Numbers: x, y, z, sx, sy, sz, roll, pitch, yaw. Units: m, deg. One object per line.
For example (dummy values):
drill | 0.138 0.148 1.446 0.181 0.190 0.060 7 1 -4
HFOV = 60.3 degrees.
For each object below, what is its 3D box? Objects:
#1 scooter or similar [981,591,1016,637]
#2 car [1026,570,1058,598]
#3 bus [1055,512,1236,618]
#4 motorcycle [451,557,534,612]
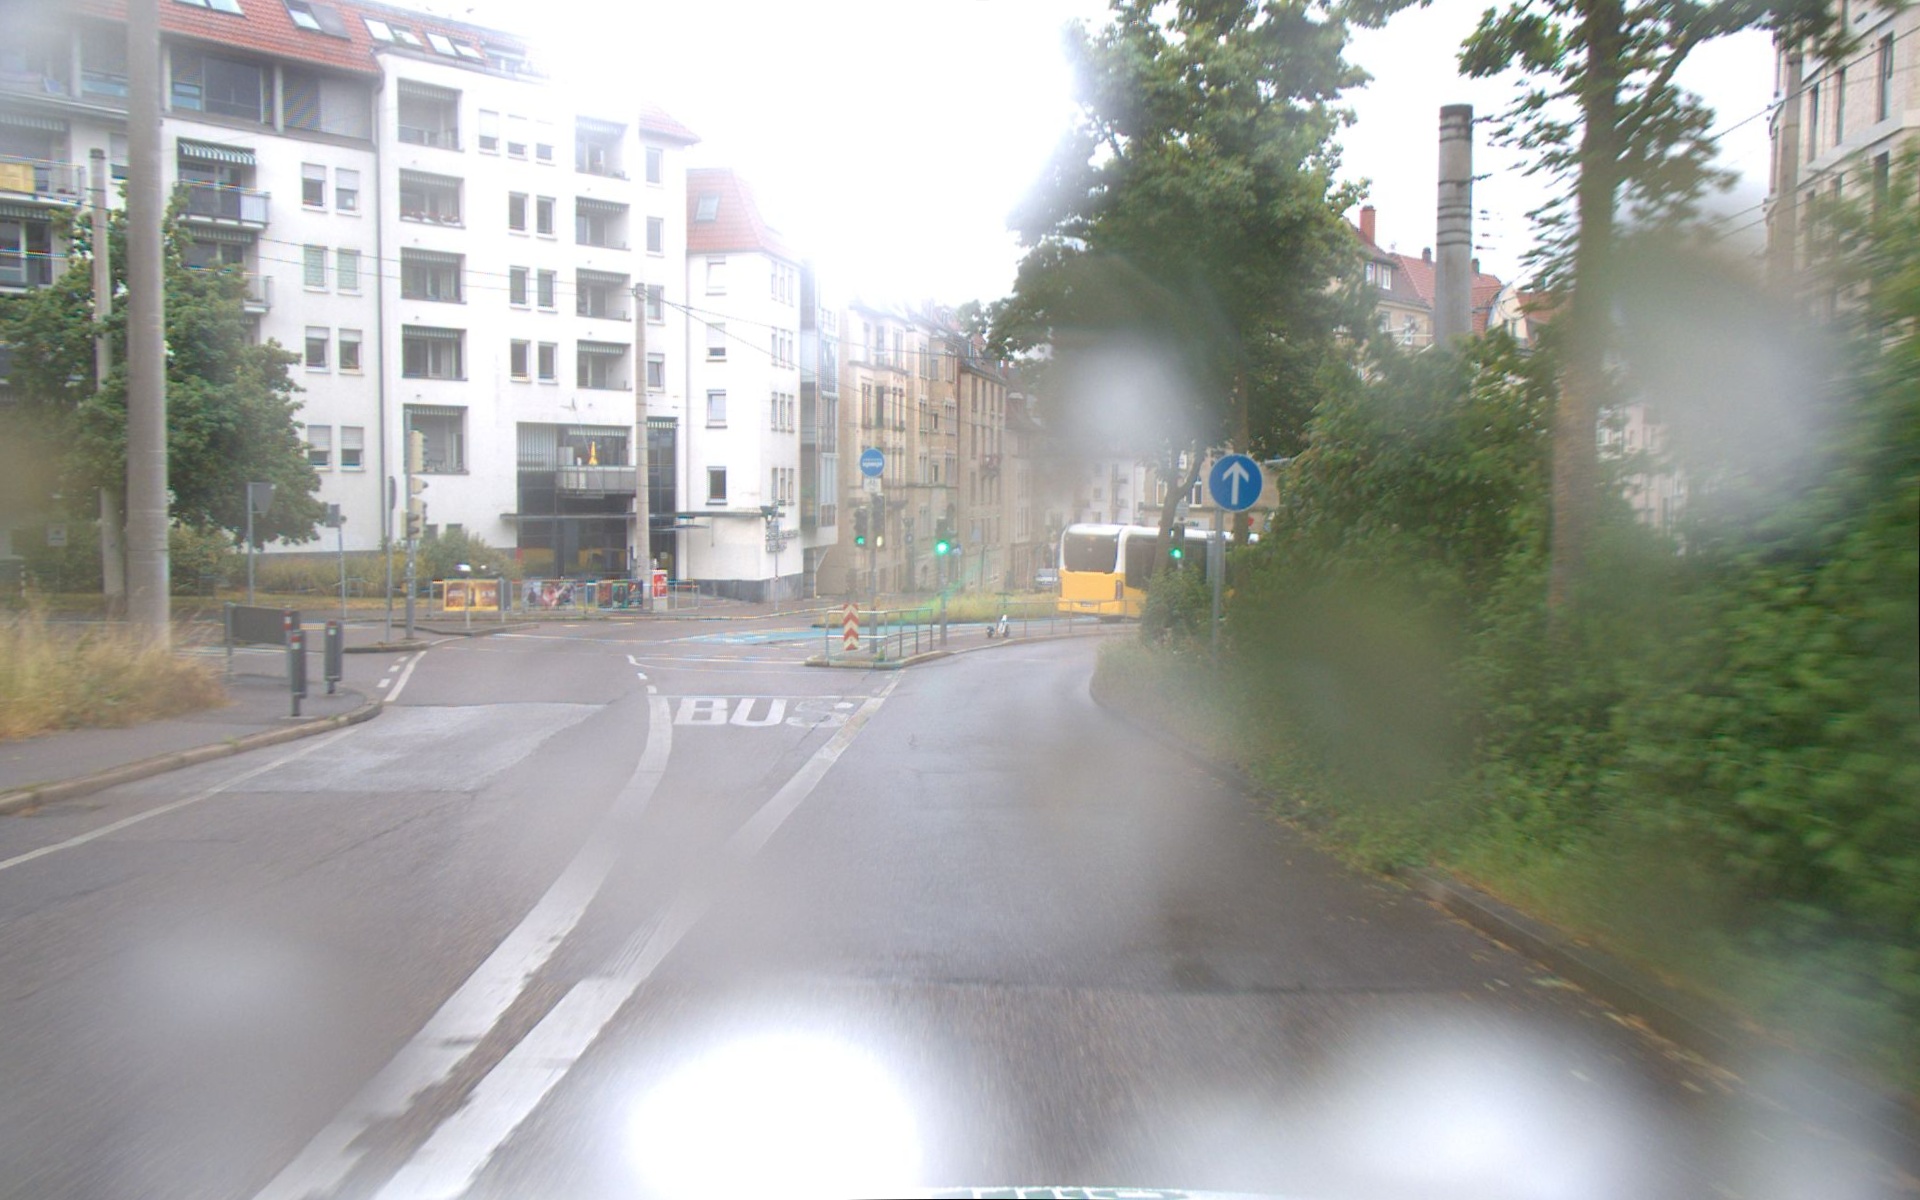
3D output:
scooter or similar | 1.004 0.353 43.259 0.424 1.133 1.606 3 1 18
car | 6.543 -1.272 132.323 2.094 2.174 4.856 2 0 -1
bus | 6.851 -1.168 59.637 2.545 3.529 9.079 2 1 34
motorcycle | -14.074 -0.461 49.873 0.685 1.577 2.432 6 3 35
